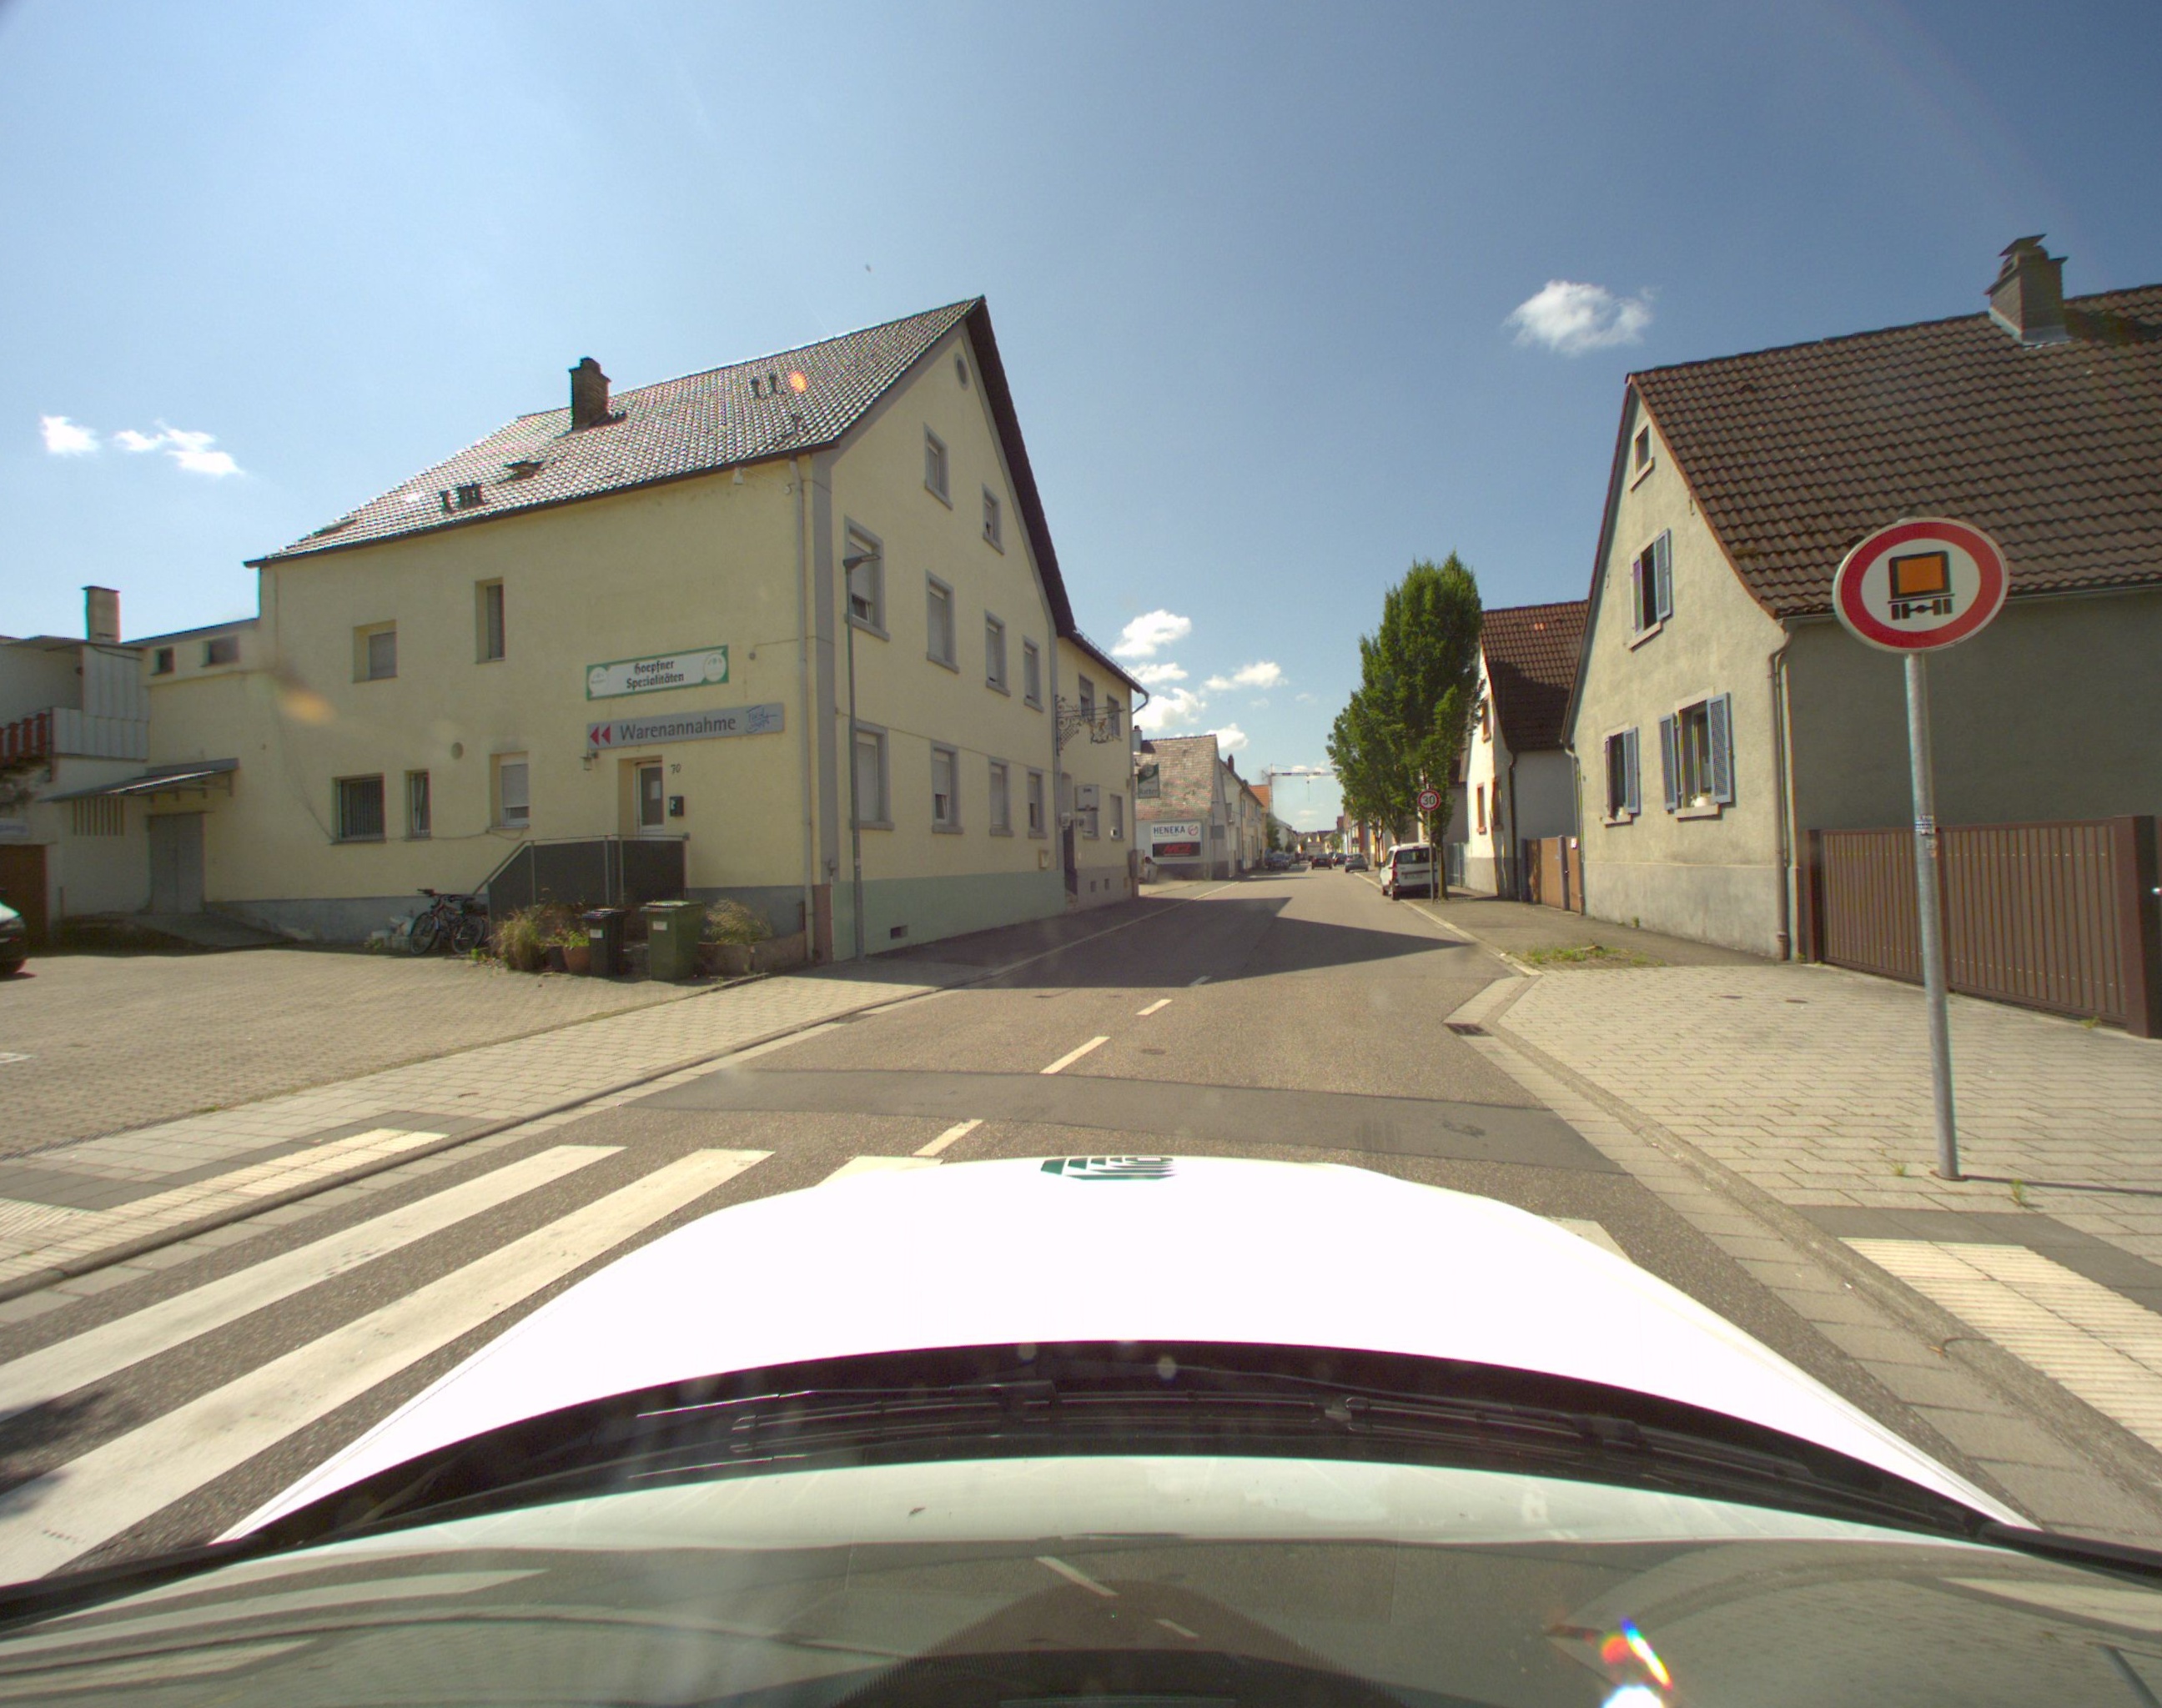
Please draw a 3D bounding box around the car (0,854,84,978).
[{"bbox_3d":[-17.559,0.884,12.061,4.531,1.759,1.914,0,-1,17],"label":"car"}]

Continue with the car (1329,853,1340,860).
[{"bbox_3d":[42.952,0.417,137.899,1.706,1.269,4.174,-1,0,16],"label":"car"}]

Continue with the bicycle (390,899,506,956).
[{"bbox_3d":[-11.089,1.287,14.252,2.151,0.913,0.545,-3,-1,21],"label":"bicycle"}]

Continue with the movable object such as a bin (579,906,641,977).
[{"bbox_3d":[-6.621,1.222,11.463,0.475,0.928,0.549,-2,-1,18],"label":"movable object such as a bin"}]

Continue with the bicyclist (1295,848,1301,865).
[{"bbox_3d":[26.671,0.279,100.172,0.734,2.059,0.848,0,-1,15],"label":"bicyclist"}]

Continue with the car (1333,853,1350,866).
[{"bbox_3d":[28.937,0.586,90.501,1.706,1.355,4.174,-1,0,16],"label":"car"}]

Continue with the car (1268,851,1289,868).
[{"bbox_3d":[19.084,0.512,78.684,1.796,1.589,4.016,-1,0,15],"label":"car"}]

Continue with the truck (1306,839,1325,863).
[{"bbox_3d":[42.802,-0.506,148.759,3.120,4.250,9.343,0,0,17],"label":"truck"}]

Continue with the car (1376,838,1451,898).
[{"bbox_3d":[11.162,0.430,27.558,1.707,1.790,4.160,-3,-1,14],"label":"car"}]

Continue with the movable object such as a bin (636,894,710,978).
[{"bbox_3d":[-5.632,1.121,11.262,0.595,1.079,0.661,-2,-1,18],"label":"movable object such as a bin"}]

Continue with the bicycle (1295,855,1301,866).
[{"bbox_3d":[26.635,0.762,100.040,0.745,1.308,2.696,0,0,15],"label":"bicycle"}]

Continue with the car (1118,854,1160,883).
[{"bbox_3d":[3.402,0.813,47.101,1.707,1.556,4.215,0,0,14],"label":"car"}]

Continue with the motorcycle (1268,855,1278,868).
[{"bbox_3d":[17.731,0.712,75.041,0.840,1.170,2.479,0,0,15],"label":"motorcycle"}]

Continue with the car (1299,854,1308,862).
[{"bbox_3d":[46.489,0.738,170.236,1.795,1.589,4.017,-1,0,16],"label":"car"}]

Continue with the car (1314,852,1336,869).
[{"bbox_3d":[22.790,0.582,75.939,1.887,1.563,4.496,-1,0,17],"label":"car"}]

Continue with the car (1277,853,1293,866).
[{"bbox_3d":[25.873,0.656,103.122,1.796,1.589,4.016,-1,0,15],"label":"car"}]

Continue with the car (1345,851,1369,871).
[{"bbox_3d":[21.353,0.494,63.085,1.706,1.461,4.176,-1,0,18],"label":"car"}]
